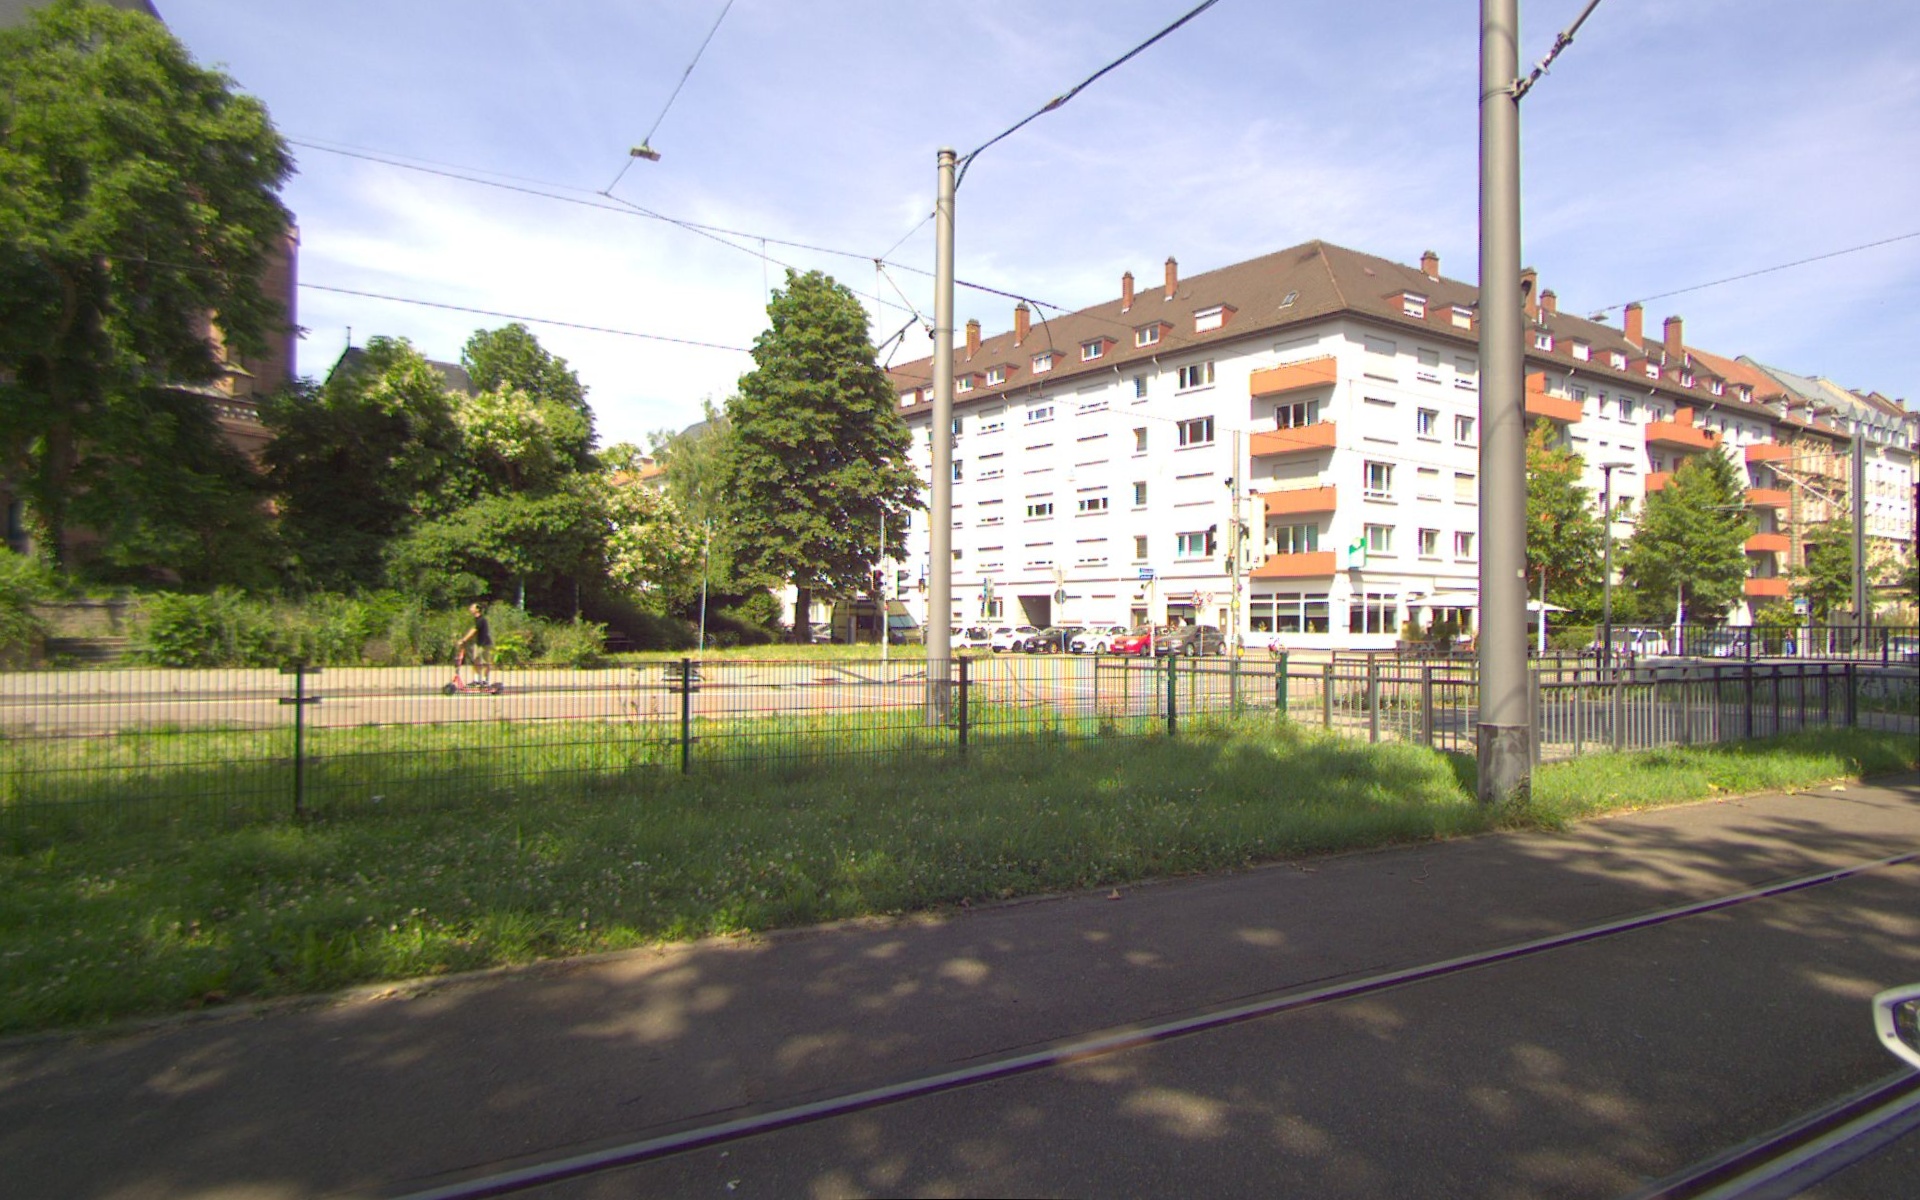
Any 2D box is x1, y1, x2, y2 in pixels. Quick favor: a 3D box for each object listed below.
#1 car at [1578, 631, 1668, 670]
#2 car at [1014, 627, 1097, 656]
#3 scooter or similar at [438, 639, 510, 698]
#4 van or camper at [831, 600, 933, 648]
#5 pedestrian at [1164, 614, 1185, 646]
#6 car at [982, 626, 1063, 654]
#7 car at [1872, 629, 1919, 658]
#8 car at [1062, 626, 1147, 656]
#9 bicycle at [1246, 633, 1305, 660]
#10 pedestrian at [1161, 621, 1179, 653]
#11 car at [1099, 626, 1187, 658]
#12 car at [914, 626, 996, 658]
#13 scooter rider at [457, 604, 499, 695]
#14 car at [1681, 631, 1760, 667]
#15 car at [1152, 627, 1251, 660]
[{"bbox_3d":[26.863,2.014,40.678,3.961,1.518,1.759,1,-3,-36],"label":"car"},{"bbox_3d":[4.970,2.107,51.977,4.129,1.425,1.917,1,-2,-38],"label":"car"},{"bbox_3d":[-10.294,1.441,21.317,1.249,1.220,0.655,1,-1,-15],"label":"scooter or similar"},{"bbox_3d":[-4.085,1.213,51.737,2.228,2.360,5.704,1,-2,-42],"label":"van or camper"},{"bbox_3d":[10.976,1.536,51.312,0.846,1.593,0.688,0,-1,36],"label":"pedestrian"},{"bbox_3d":[3.406,2.123,54.256,4.129,1.425,1.917,1,-1,-38],"label":"car"},{"bbox_3d":[52.326,2.406,55.764,3.961,1.518,1.758,1,-2,-36],"label":"car"},{"bbox_3d":[7.259,2.040,50.413,4.129,1.425,1.918,1,-2,-38],"label":"car"},{"bbox_3d":[13.730,2.003,43.637,2.779,1.152,0.905,1,-1,-34],"label":"bicycle"},{"bbox_3d":[10.607,1.874,50.725,0.679,1.593,0.544,0,-1,36],"label":"pedestrian"},{"bbox_3d":[8.802,1.991,48.097,4.129,1.425,1.918,1,-2,-38],"label":"car"},{"bbox_3d":[-0.259,1.939,47.345,3.702,1.425,1.823,-1,-2,44],"label":"car"},{"bbox_3d":[-10.235,1.050,21.337,0.658,1.891,0.662,1,-1,-15],"label":"scooter rider"},{"bbox_3d":[34.132,2.181,45.048,3.961,1.518,1.759,1,-3,-36],"label":"car"},{"bbox_3d":[10.969,1.949,45.503,4.598,1.394,1.821,1,-2,-36],"label":"car"}]
